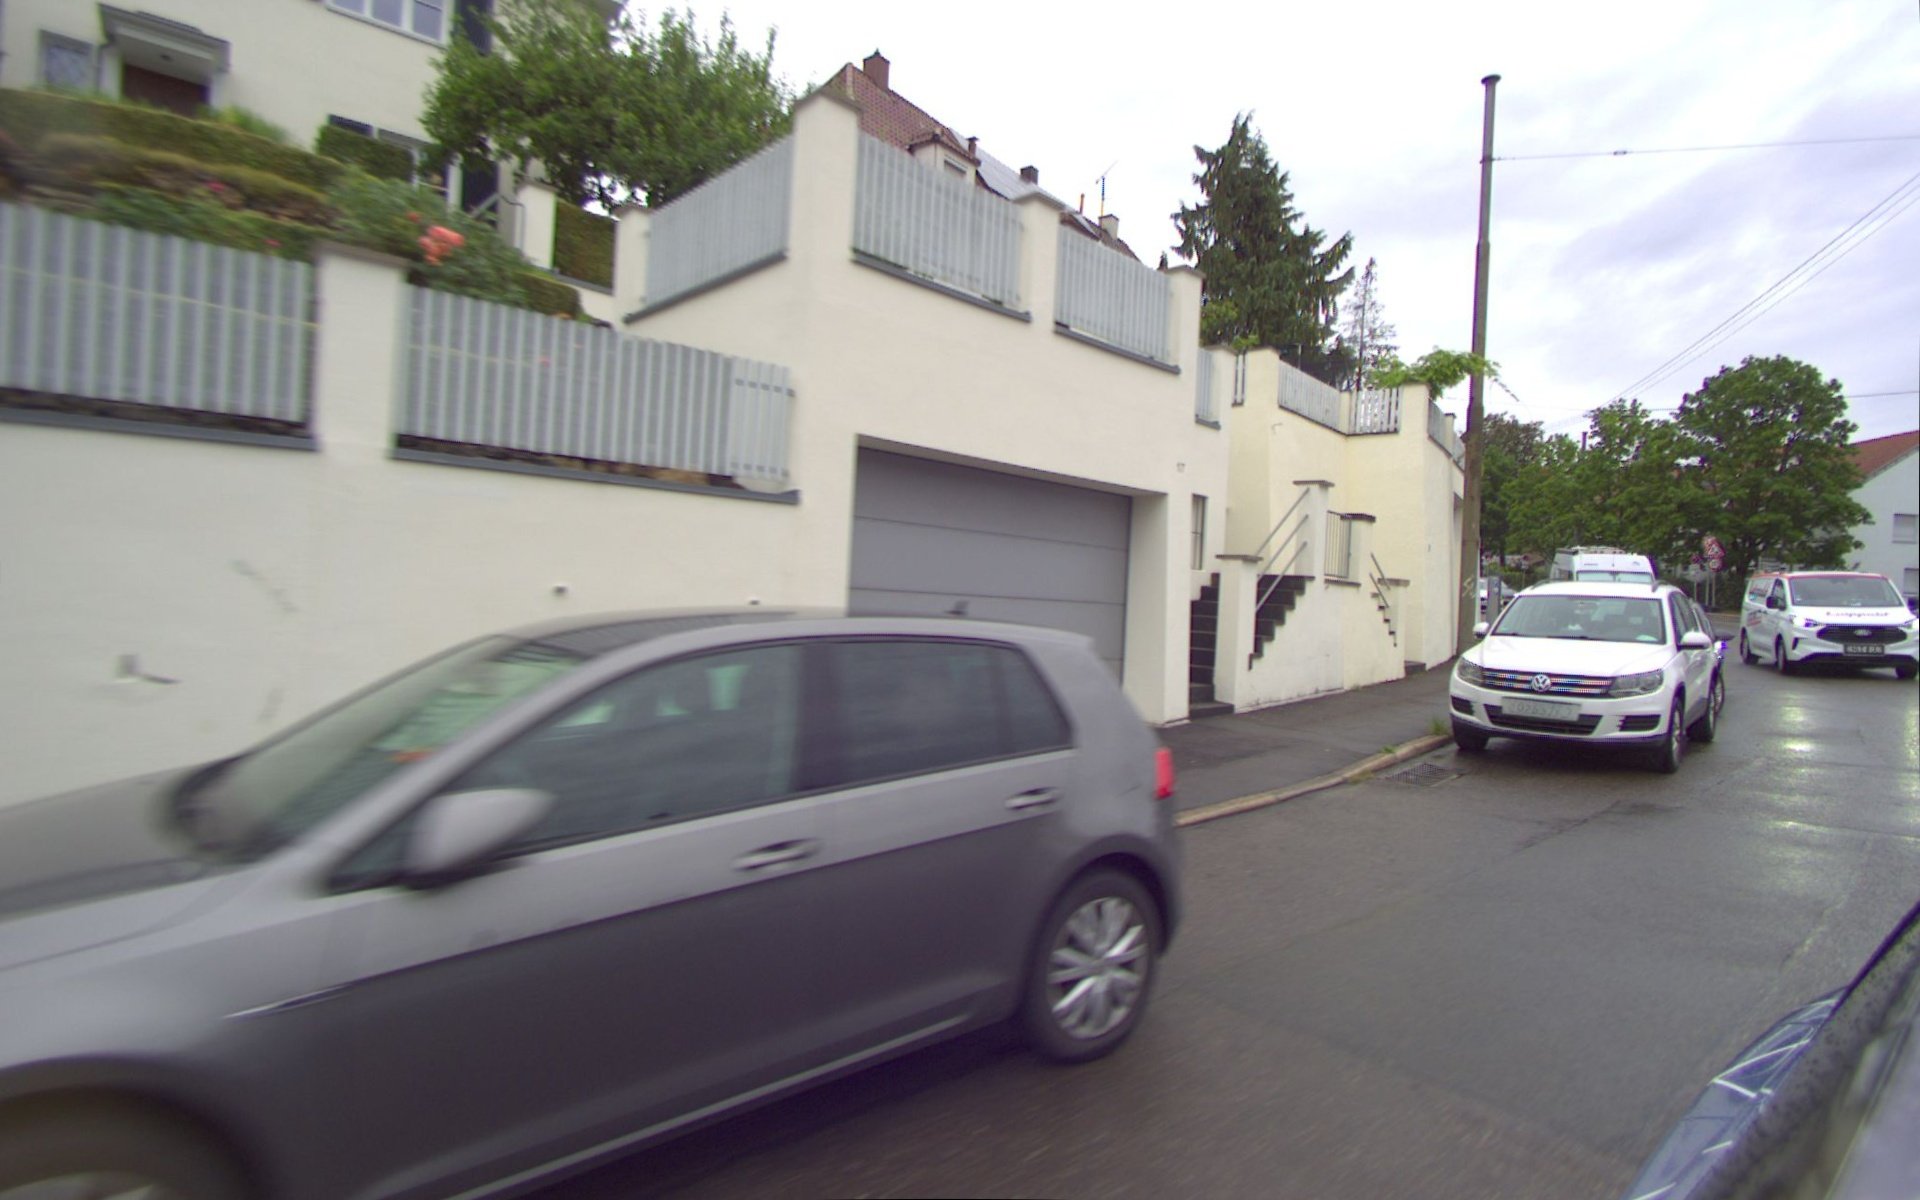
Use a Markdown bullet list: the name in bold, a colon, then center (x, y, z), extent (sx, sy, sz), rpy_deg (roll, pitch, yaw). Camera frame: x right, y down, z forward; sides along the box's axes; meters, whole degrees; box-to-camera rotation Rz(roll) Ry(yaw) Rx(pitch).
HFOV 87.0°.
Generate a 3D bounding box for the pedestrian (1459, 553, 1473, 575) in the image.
- **pedestrian**: center (43.209, -3.079, 86.440), extent (0.671, 1.839, 1.154), rpy_deg (1, 2, 6)

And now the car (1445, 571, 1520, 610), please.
- **car**: center (22.645, -0.442, 44.044), extent (1.683, 1.431, 4.032), rpy_deg (3, 4, 10)

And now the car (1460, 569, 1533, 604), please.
- **car**: center (26.272, -0.694, 49.717), extent (1.960, 1.453, 4.500), rpy_deg (2, 3, 12)

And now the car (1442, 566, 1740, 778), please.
- **car**: center (6.456, 0.523, 10.139), extent (1.803, 1.669, 4.145), rpy_deg (1, 1, 43)

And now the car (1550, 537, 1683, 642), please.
- **car**: center (18.019, -0.397, 28.072), extent (2.083, 2.573, 5.576), rpy_deg (3, 3, 24)

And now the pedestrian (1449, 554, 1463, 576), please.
- **pedestrian**: center (42.436, -3.016, 86.585), extent (0.697, 1.839, 1.146), rpy_deg (1, 2, 6)

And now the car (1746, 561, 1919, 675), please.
- **car**: center (17.024, 0.269, 19.683), extent (2.025, 1.963, 4.470), rpy_deg (1, 1, 29)

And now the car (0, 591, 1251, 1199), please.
- **car**: center (-1.060, 0.714, 3.033), extent (4.097, 1.455, 1.645), rpy_deg (0, 0, -38)

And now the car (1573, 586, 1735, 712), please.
- **car**: center (10.127, 0.581, 14.634), extent (1.675, 1.502, 4.144), rpy_deg (0, 1, 38)
